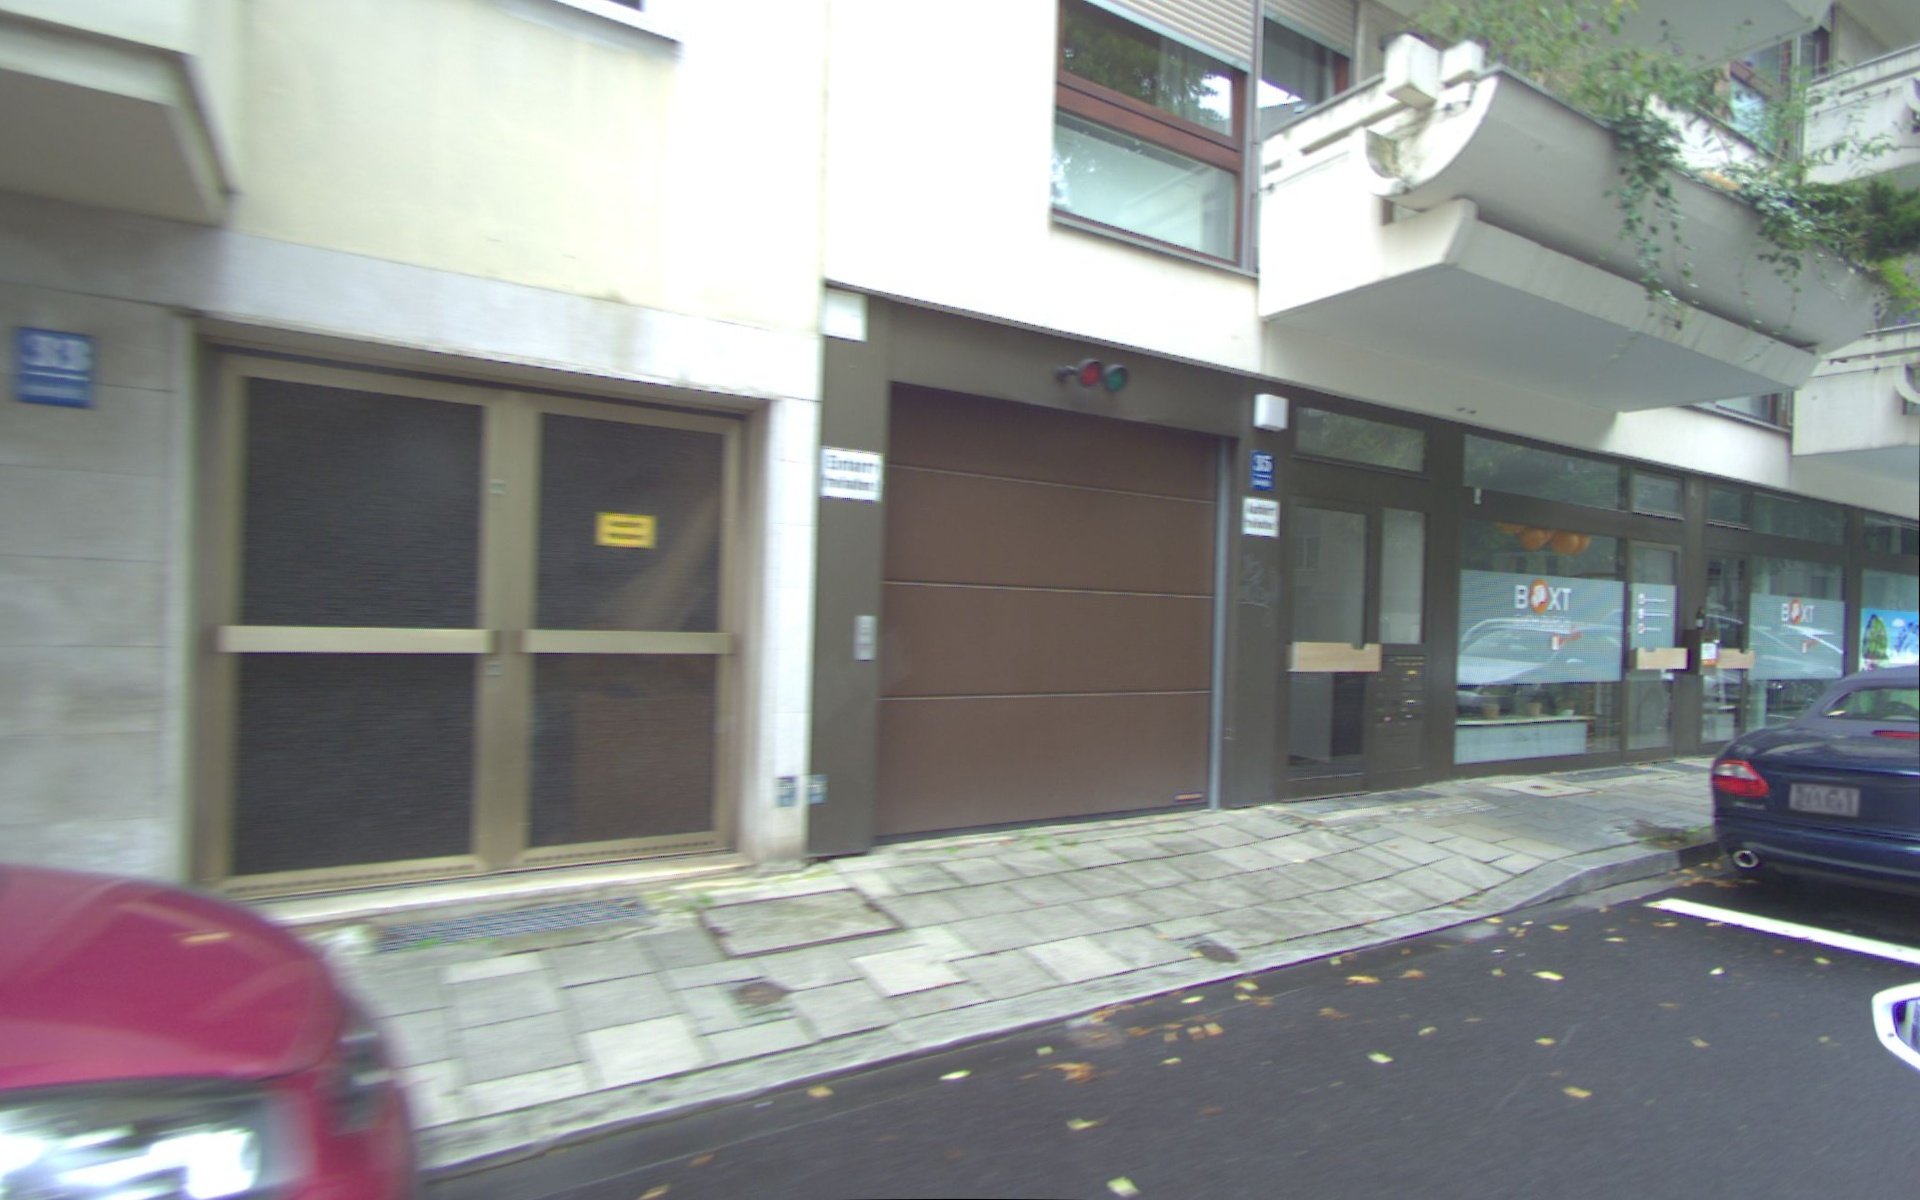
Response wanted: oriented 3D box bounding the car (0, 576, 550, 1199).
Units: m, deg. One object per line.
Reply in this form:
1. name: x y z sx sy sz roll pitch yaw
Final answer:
1. car: -2.467 0.694 0.863 3.669 1.516 1.610 2 -1 -33

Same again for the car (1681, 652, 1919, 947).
1. car: 6.254 0.984 5.863 4.567 1.295 1.787 2 -2 -33
